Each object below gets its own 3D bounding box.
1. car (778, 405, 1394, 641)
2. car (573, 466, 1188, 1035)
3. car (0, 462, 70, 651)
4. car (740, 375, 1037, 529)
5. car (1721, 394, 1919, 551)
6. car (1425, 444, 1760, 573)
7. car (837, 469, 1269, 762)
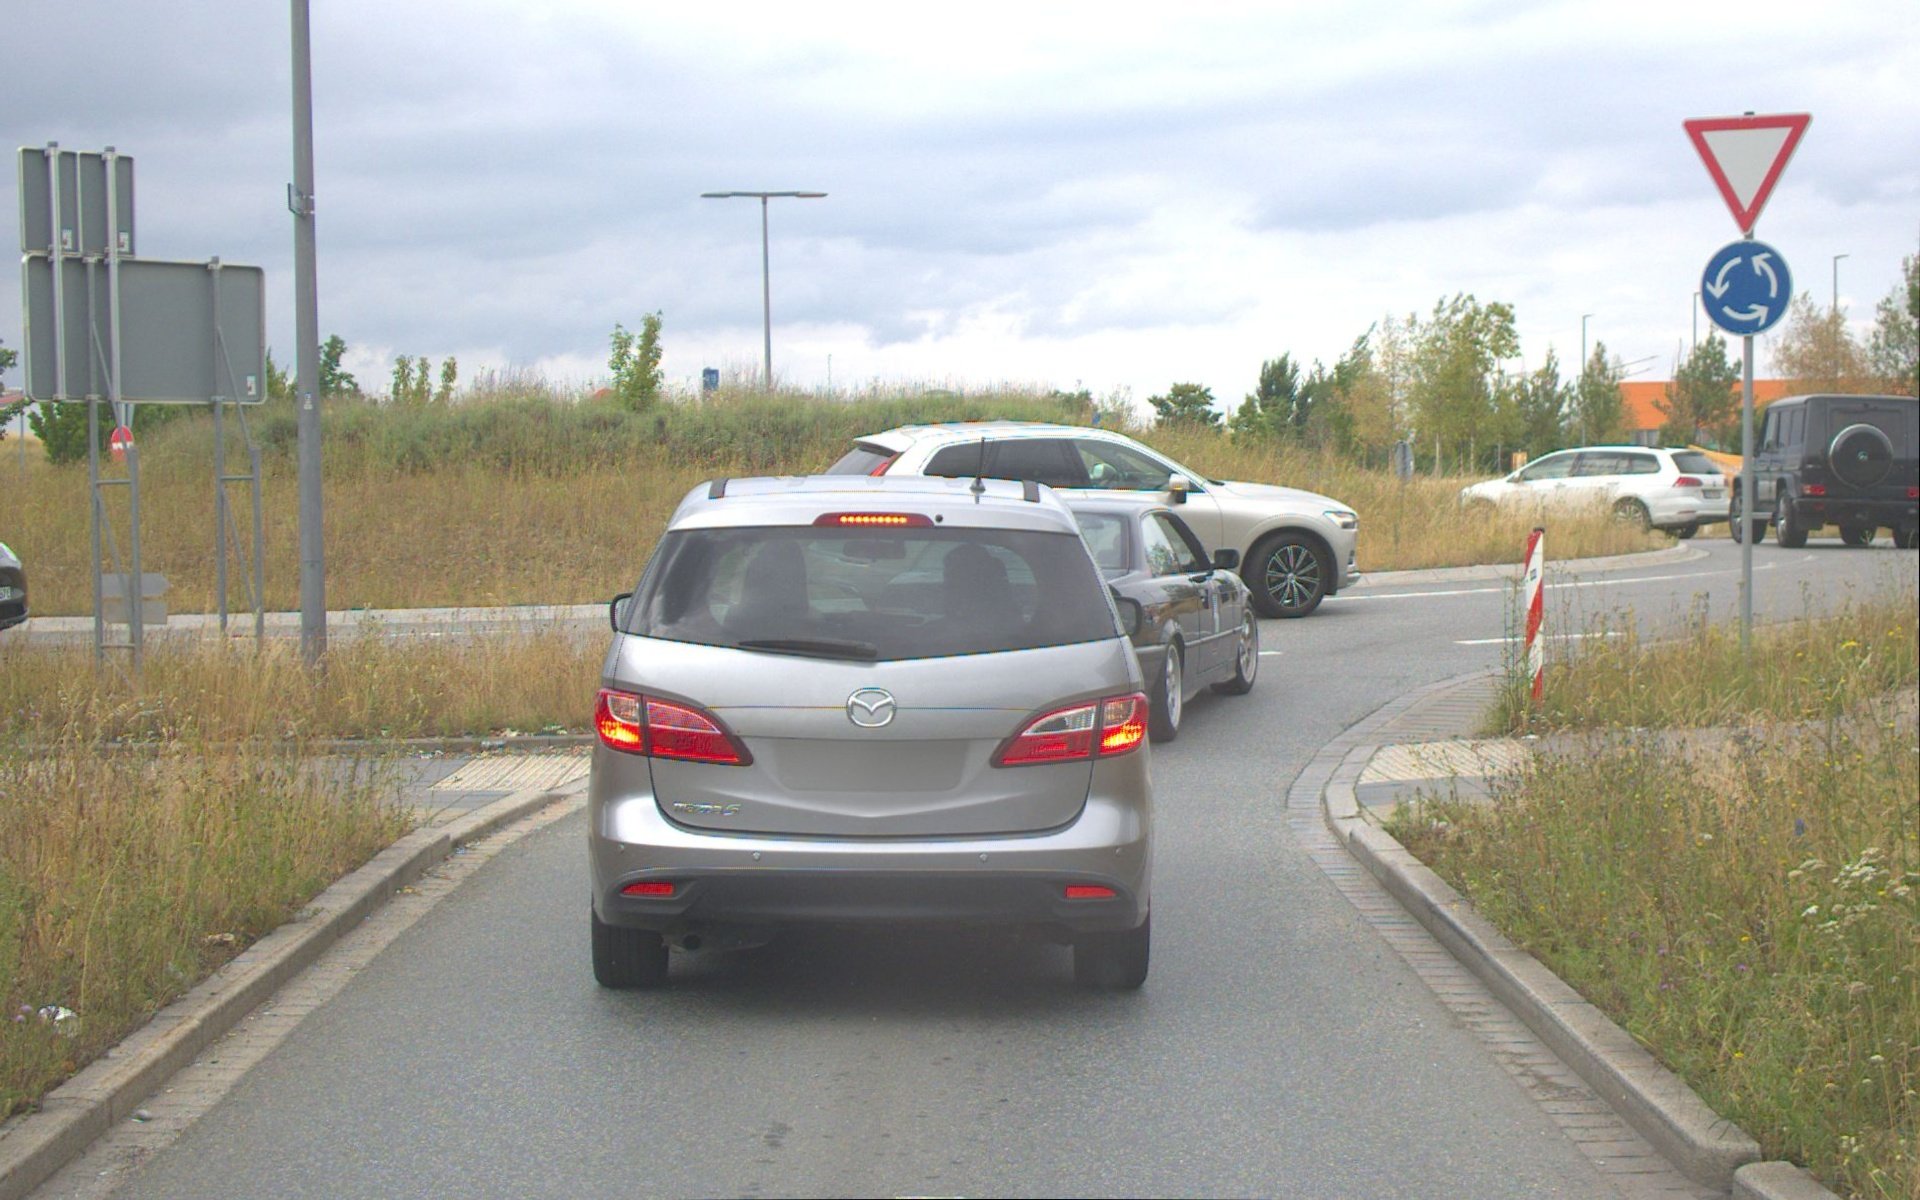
[{"bbox_3d":[1.041,-0.696,28.871,4.757,1.732,1.945,-3,4,-16],"label":"car"},{"bbox_3d":[-0.270,0.357,11.845,1.738,1.593,3.998,1,2,-1],"label":"car"},{"bbox_3d":[-9.997,-0.327,28.571,4.764,1.493,1.943,0,4,22],"label":"car"},{"bbox_3d":[-1.230,-2.610,60.358,4.762,2.535,2.083,-1,4,15],"label":"car"},{"bbox_3d":[11.510,-1.736,45.395,2.078,1.880,4.775,-1,4,3],"label":"car"},{"bbox_3d":[9.950,-1.473,54.237,4.770,1.880,2.080,2,5,40],"label":"car"},{"bbox_3d":[0.659,0.001,20.546,1.739,1.398,3.996,1,5,14],"label":"car"}]
